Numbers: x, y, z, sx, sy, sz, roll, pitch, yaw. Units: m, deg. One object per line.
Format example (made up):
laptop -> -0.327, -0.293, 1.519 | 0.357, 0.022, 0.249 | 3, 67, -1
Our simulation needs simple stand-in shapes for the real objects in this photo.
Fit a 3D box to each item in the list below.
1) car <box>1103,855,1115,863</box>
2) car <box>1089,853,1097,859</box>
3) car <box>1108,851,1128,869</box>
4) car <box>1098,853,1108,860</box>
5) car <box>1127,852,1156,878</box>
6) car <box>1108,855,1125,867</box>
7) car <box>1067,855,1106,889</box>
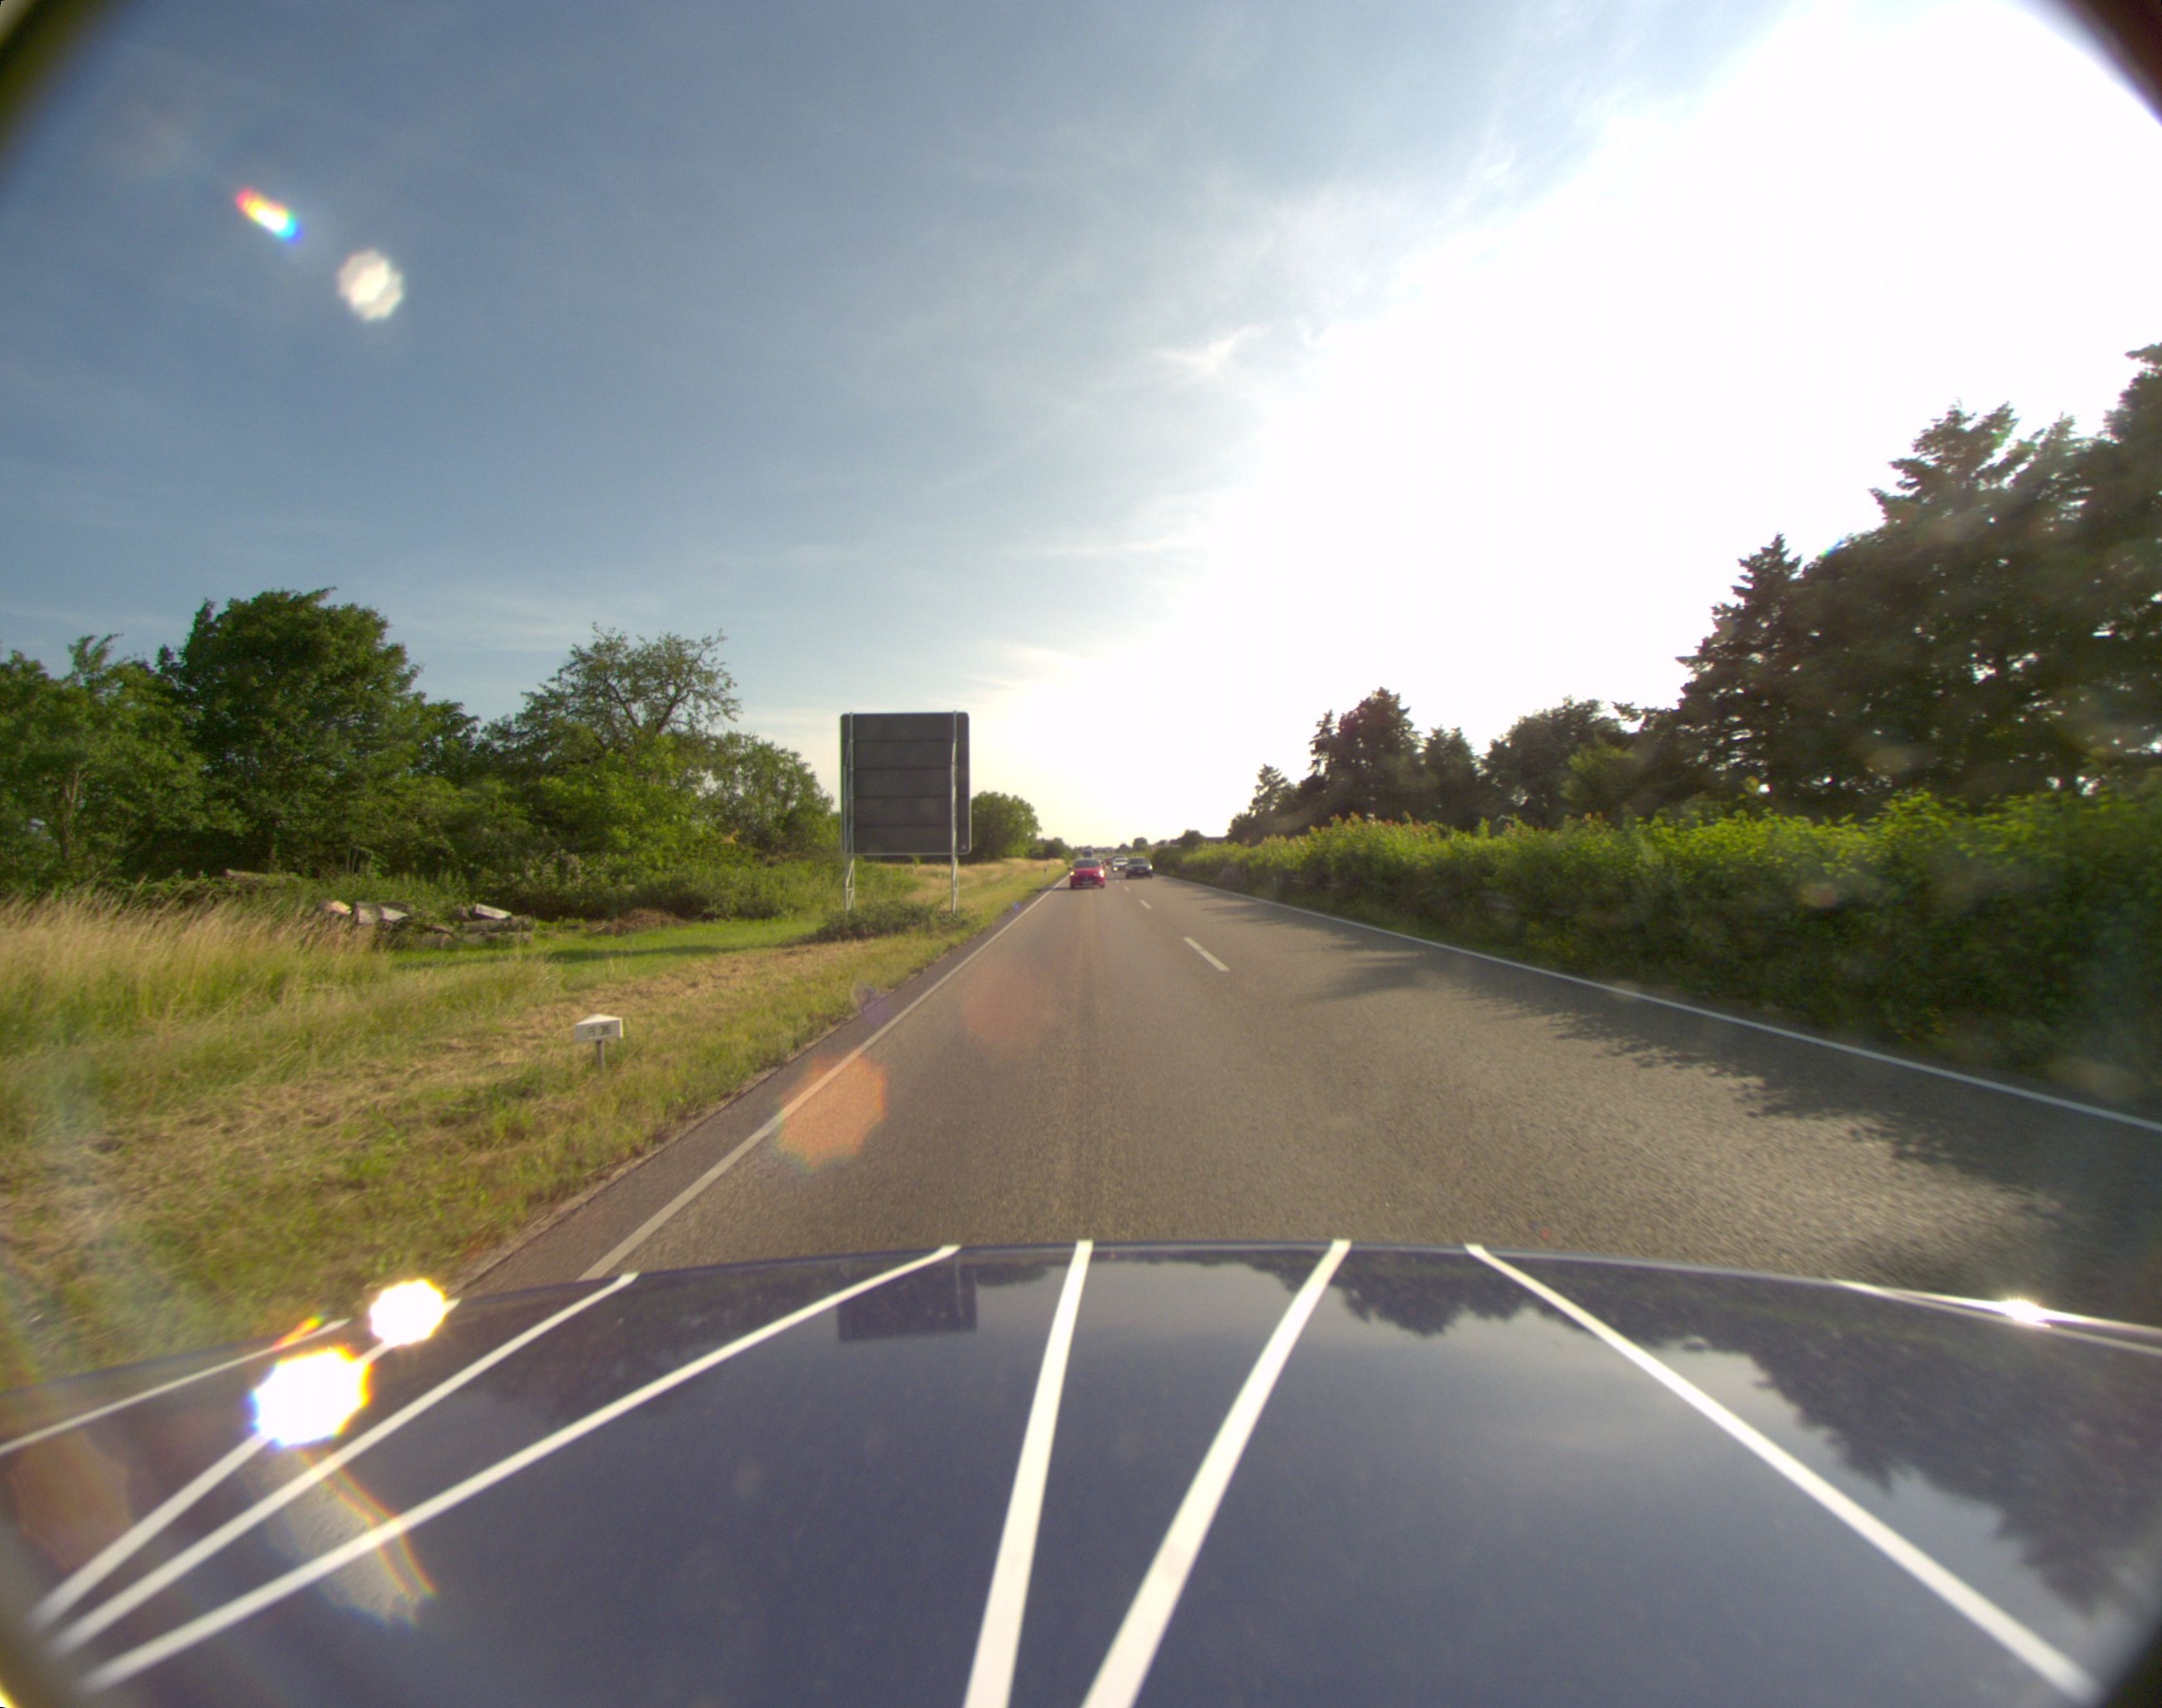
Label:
car -> 5.236, 0.854, 141.966 | 1.998, 1.412, 4.000 | -2, 0, 2
car -> 3.399, 0.522, 212.703 | 1.998, 1.412, 4.000 | -2, 0, 2
car -> 3.849, 0.587, 78.896 | 1.998, 1.762, 4.000 | -2, 0, 2
car -> 4.953, 0.597, 170.792 | 1.998, 1.412, 4.000 | -2, 0, 2
car -> 4.100, 0.715, 52.174 | 1.693, 1.695, 4.000 | -2, 0, 1
car -> 4.540, 0.838, 97.523 | 1.998, 1.412, 4.000 | -2, 0, 2
car -> 0.318, 0.848, 38.232 | 1.821, 1.565, 4.000 | -2, 0, 2
